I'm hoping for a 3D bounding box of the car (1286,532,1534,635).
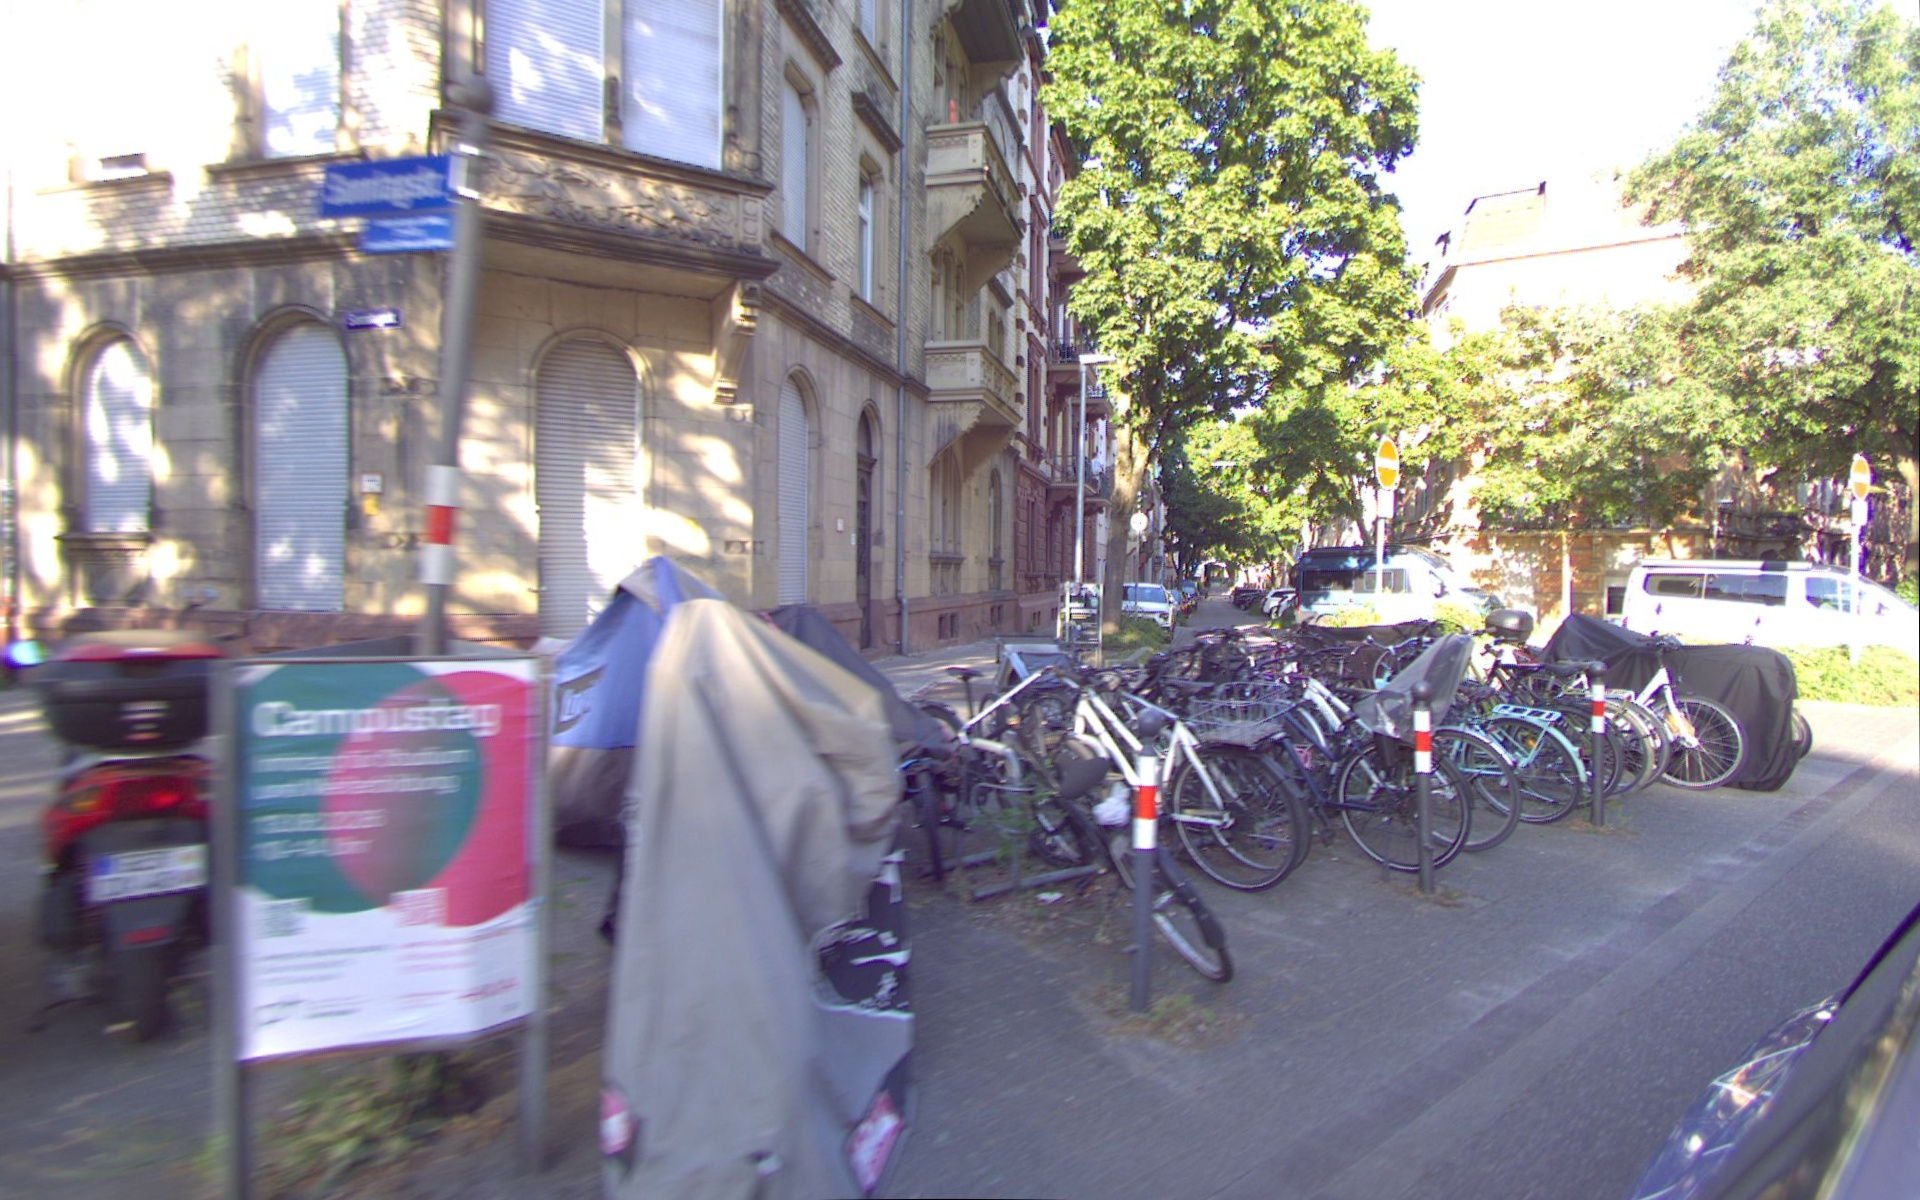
[{"bbox_3d":[12.447,-0.495,28.326,5.896,2.569,2.342,2,1,44],"label":"car"}]

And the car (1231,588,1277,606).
[{"bbox_3d":[28.610,-0.290,98.470,3.978,1.742,1.757,1,1,38],"label":"car"}]

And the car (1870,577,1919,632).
[{"bbox_3d":[37.411,0.196,37.617,2.121,1.963,5.103,-4,4,-39],"label":"car"}]

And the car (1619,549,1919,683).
[{"bbox_3d":[14.892,0.193,17.933,2.068,2.122,4.984,0,2,-40],"label":"car"}]

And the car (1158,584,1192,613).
[{"bbox_3d":[12.414,-0.121,58.460,1.838,1.602,4.230,1,1,12],"label":"car"}]

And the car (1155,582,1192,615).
[{"bbox_3d":[11.233,-0.119,53.306,1.838,1.602,4.230,1,1,12],"label":"car"}]

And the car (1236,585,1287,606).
[{"bbox_3d":[26.535,-0.415,89.061,3.978,1.742,1.757,1,1,38],"label":"car"}]

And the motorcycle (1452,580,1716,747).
[{"bbox_3d":[5.985,0.539,9.828,0.682,1.379,2.028,0,3,-40],"label":"motorcycle"}]

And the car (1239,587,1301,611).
[{"bbox_3d":[22.793,-0.100,74.451,3.978,1.742,1.757,1,1,38],"label":"car"}]

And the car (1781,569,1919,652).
[{"bbox_3d":[24.347,0.256,26.147,1.966,2.038,4.622,0,2,-42],"label":"car"}]

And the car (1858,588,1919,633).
[{"bbox_3d":[33.397,0.412,34.153,1.899,1.473,4.380,0,2,-39],"label":"car"}]

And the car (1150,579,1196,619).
[{"bbox_3d":[9.275,-0.089,44.100,1.838,1.602,4.230,1,1,12],"label":"car"}]

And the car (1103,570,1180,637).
[{"bbox_3d":[4.925,0.035,27.106,1.755,1.630,4.201,1,1,14],"label":"car"}]

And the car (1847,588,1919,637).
[{"bbox_3d":[31.676,0.428,32.828,1.810,1.516,4.091,0,2,-39],"label":"car"}]

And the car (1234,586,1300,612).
[{"bbox_3d":[21.057,-0.063,69.437,3.978,1.742,1.757,1,1,38],"label":"car"}]

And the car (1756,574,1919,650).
[{"bbox_3d":[22.237,0.257,24.822,1.769,1.713,3.994,0,2,-41],"label":"car"}]

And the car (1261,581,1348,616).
[{"bbox_3d":[17.864,-0.111,52.547,3.978,1.742,1.757,1,1,38],"label":"car"}]

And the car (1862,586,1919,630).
[{"bbox_3d":[35.161,0.350,36.399,3.987,1.492,1.754,4,3,43],"label":"car"}]

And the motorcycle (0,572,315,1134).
[{"bbox_3d":[-2.731,0.586,3.532,0.643,1.358,2.293,0,1,-28],"label":"motorcycle"}]

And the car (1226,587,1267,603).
[{"bbox_3d":[31.404,-0.569,111.002,3.978,1.742,1.757,1,1,38],"label":"car"}]

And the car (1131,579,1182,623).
[{"bbox_3d":[7.766,-0.009,39.839,1.838,1.602,4.230,1,1,12],"label":"car"}]

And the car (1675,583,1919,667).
[{"bbox_3d":[17.630,0.450,21.320,1.815,1.534,3.849,0,2,-40],"label":"car"}]

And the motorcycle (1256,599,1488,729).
[{"bbox_3d":[4.241,0.603,10.554,0.888,1.122,2.027,0,3,-41],"label":"motorcycle"}]

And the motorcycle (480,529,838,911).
[{"bbox_3d":[-1.630,0.457,5.164,2.283,1.550,0.744,2,2,44],"label":"motorcycle"}]

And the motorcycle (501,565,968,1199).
[{"bbox_3d":[-0.649,0.626,3.007,0.921,1.430,1.942,0,1,-13],"label":"motorcycle"}]

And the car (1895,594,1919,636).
[{"bbox_3d":[40.603,0.666,40.975,1.695,1.669,3.890,0,2,-42],"label":"car"}]

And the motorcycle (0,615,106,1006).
[{"bbox_3d":[-3.465,0.692,2.989,0.951,1.194,2.294,0,1,-27],"label":"motorcycle"}]

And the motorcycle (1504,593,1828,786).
[{"bbox_3d":[5.842,0.657,8.490,0.888,1.300,2.027,0,3,-41],"label":"motorcycle"}]

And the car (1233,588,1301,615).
[{"bbox_3d":[20.354,0.060,67.193,3.978,1.742,1.757,1,1,38],"label":"car"}]

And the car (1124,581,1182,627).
[{"bbox_3d":[6.712,0.086,35.119,1.838,1.493,4.230,1,1,12],"label":"car"}]

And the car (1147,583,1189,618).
[{"bbox_3d":[10.033,-0.023,48.797,1.838,1.602,4.230,1,1,12],"label":"car"}]

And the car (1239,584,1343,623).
[{"bbox_3d":[14.301,0.120,43.753,3.974,1.584,1.759,1,1,35],"label":"car"}]
